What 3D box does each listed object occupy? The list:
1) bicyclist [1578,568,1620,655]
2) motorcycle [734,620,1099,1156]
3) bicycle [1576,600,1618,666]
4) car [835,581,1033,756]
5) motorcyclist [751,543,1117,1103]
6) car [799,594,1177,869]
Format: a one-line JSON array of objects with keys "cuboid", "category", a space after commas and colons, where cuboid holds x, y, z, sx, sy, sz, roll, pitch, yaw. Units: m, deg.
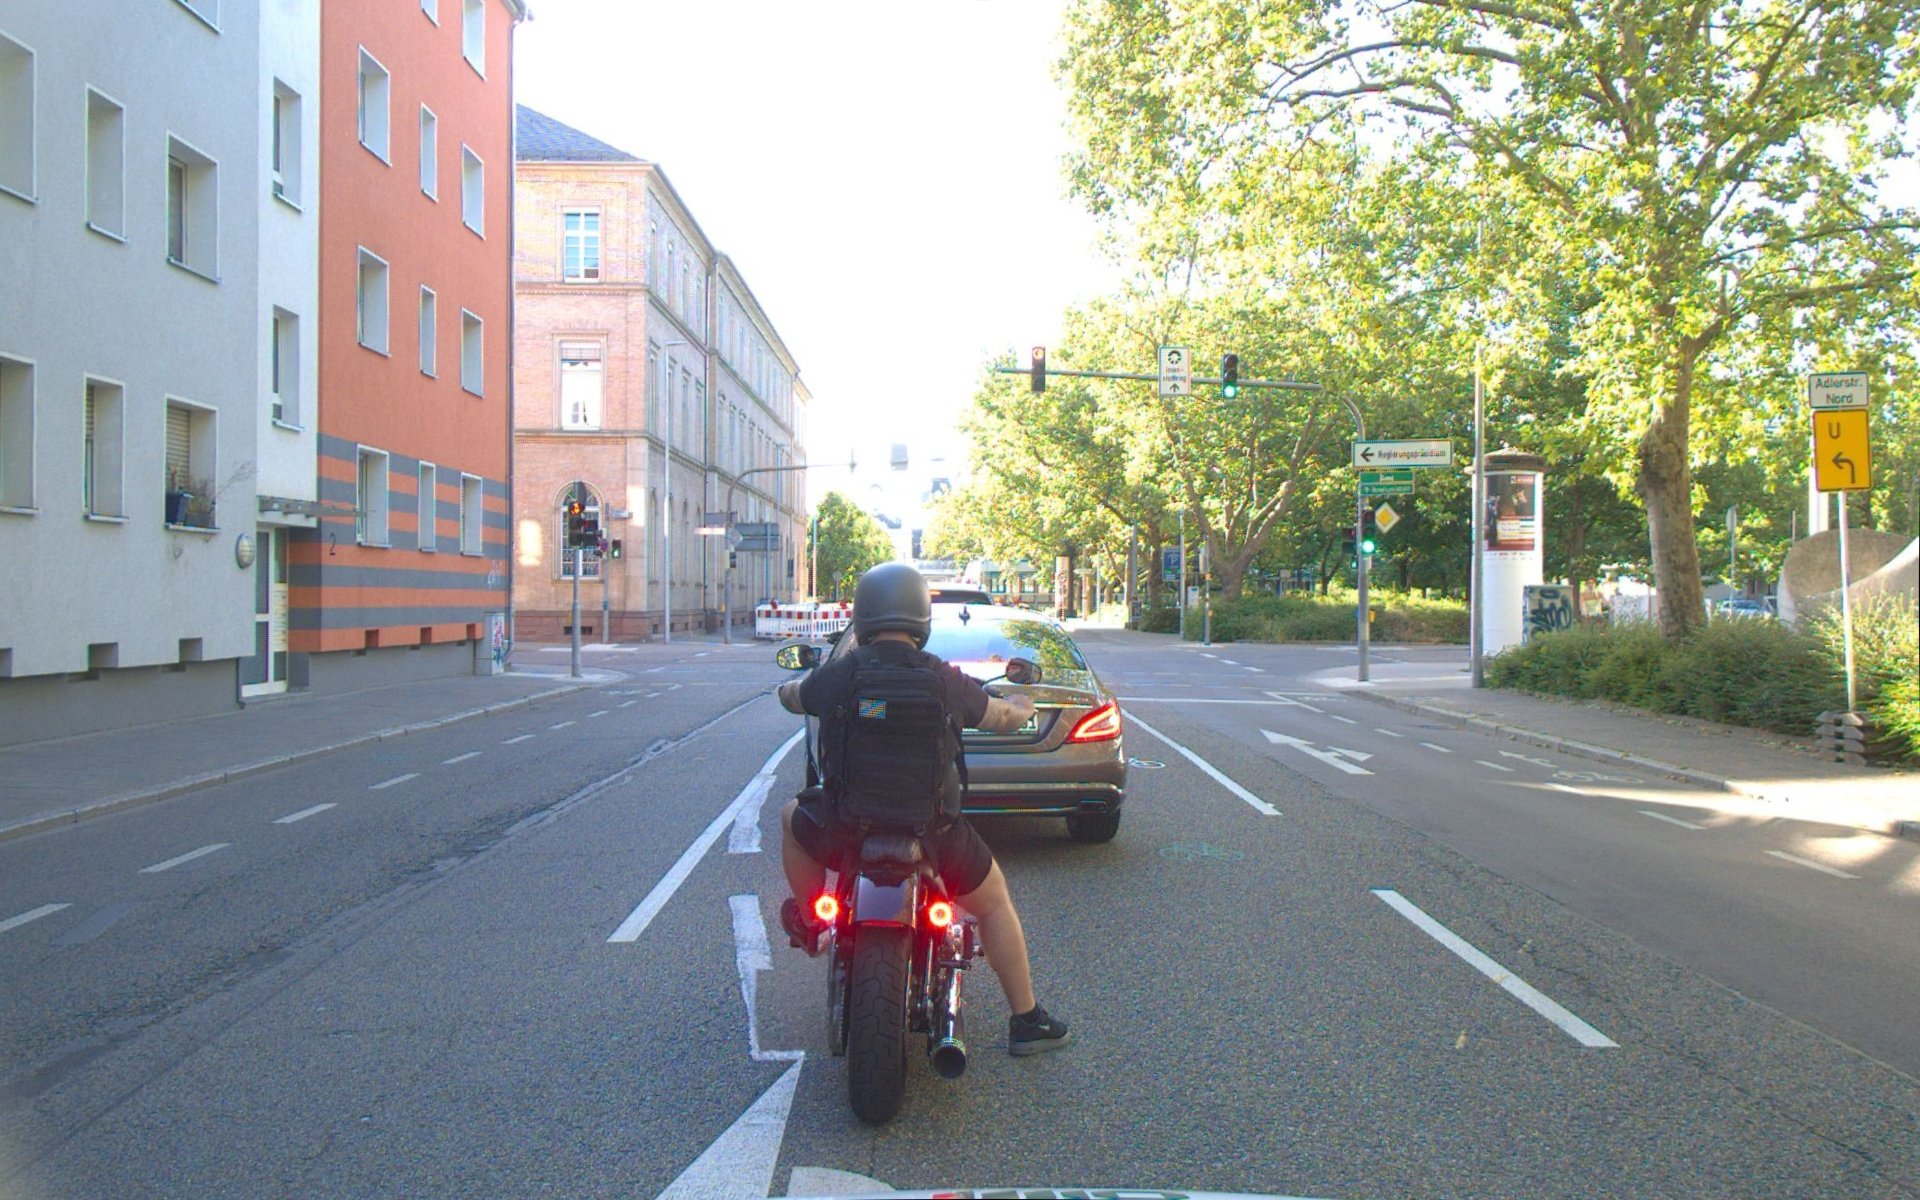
[{"cuboid": [12.041, 0.215, 31.173, 0.702, 1.610, 0.936, 1, -1, 23], "category": "bicyclist"}, {"cuboid": [-0.130, 0.774, 5.525, 0.942, 1.380, 2.319, 1, 0, -1], "category": "motorcycle"}, {"cuboid": [12.015, 0.608, 31.147, 0.701, 1.193, 2.176, 1, 0, 22], "category": "bicycle"}, {"cuboid": [-0.344, 0.608, 16.755, 1.777, 1.563, 3.846, 0, 0, -3], "category": "car"}, {"cuboid": [-0.080, 0.649, 5.256, 1.039, 1.610, 0.908, 1, 0, -1], "category": "motorcyclist"}, {"cuboid": [-0.037, 0.700, 11.130, 1.867, 1.466, 4.280, 0, 0, -9], "category": "car"}]
